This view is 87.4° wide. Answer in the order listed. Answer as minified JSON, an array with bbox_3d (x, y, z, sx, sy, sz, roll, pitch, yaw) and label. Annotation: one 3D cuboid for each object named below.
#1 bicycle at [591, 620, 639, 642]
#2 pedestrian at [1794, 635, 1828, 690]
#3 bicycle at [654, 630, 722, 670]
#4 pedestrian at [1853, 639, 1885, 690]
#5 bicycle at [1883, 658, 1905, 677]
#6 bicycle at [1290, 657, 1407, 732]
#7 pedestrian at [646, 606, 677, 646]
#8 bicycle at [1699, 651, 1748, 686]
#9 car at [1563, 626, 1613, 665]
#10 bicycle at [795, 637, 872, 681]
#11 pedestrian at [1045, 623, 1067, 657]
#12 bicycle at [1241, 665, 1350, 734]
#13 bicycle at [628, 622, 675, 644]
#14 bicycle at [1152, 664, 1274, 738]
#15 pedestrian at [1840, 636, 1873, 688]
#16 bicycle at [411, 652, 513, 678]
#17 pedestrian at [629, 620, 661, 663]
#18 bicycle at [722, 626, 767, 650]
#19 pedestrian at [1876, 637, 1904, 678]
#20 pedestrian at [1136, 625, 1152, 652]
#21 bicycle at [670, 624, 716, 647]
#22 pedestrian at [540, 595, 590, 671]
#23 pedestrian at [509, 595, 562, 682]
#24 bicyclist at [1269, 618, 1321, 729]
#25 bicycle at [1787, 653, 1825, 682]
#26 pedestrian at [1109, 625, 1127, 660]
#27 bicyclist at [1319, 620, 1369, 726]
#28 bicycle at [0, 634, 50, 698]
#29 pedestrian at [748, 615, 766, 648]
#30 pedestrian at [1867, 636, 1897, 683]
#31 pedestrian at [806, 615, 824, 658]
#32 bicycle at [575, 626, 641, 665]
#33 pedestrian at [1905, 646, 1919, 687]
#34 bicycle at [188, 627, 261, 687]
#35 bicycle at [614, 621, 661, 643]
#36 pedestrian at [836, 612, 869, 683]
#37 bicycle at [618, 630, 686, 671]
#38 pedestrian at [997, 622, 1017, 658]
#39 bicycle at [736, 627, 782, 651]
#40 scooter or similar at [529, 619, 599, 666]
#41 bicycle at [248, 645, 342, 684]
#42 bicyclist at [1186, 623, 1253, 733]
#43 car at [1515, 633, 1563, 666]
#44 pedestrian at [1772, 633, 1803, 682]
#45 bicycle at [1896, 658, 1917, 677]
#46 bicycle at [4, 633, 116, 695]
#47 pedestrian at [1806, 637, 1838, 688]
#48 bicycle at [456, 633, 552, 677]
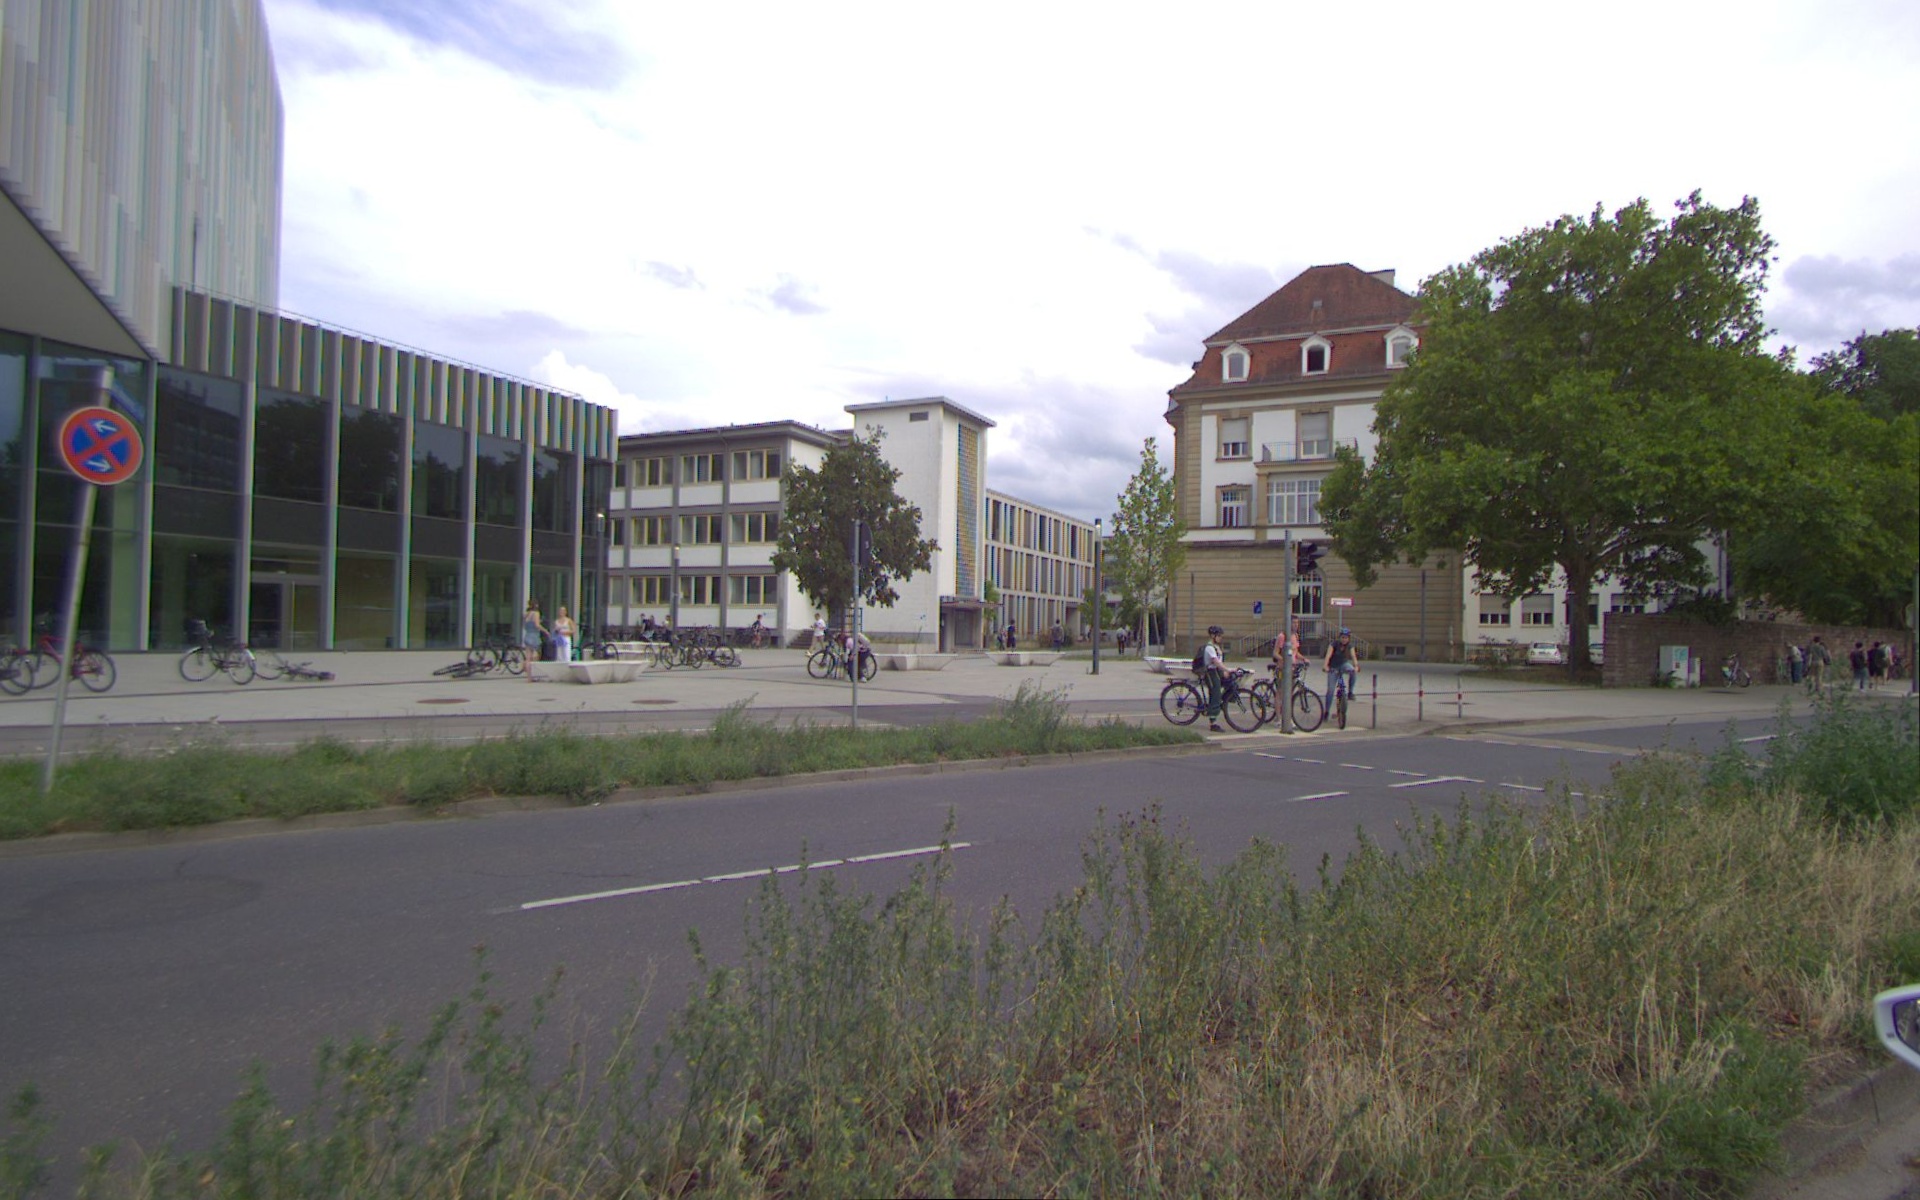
[{"bbox_3d":[-18.535,1.674,54.074,0.732,1.149,2.671,1,-1,26],"label":"bicycle"},{"bbox_3d":[28.951,2.119,34.172,0.734,1.805,0.782,1,-2,31],"label":"pedestrian"},{"bbox_3d":[-8.223,1.498,30.277,0.792,1.104,2.648,2,-2,-44],"label":"bicycle"},{"bbox_3d":[33.532,2.375,37.055,0.748,1.805,0.781,1,-2,35],"label":"pedestrian"},{"bbox_3d":[43.863,3.148,47.158,1.605,0.807,0.437,1,1,-36],"label":"bicycle"},{"bbox_3d":[6.886,1.645,17.868,0.603,1.185,1.871,2,-2,-44],"label":"bicycle"},{"bbox_3d":[-14.720,1.295,49.578,1.051,1.956,0.974,0,-1,27],"label":"pedestrian"},{"bbox_3d":[26.056,2.330,34.266,2.141,1.141,0.574,2,1,-32],"label":"bicycle"},{"bbox_3d":[34.609,2.500,55.433,1.752,2.040,3.998,1,-2,24],"label":"car"},{"bbox_3d":[-2.968,1.386,23.598,1.726,1.012,0.437,2,-1,-27],"label":"bicycle"},{"bbox_3d":[4.462,1.869,46.688,0.725,1.569,0.700,2,-2,-23],"label":"pedestrian"},{"bbox_3d":[5.690,1.671,17.125,0.567,1.002,1.670,2,0,-43],"label":"bicycle"},{"bbox_3d":[-16.233,1.746,52.987,0.732,1.149,2.671,1,-1,26],"label":"bicycle"},{"bbox_3d":[4.098,1.612,16.351,0.723,1.002,1.799,2,0,-43],"label":"bicycle"},{"bbox_3d":[31.775,2.200,35.607,0.748,1.805,0.782,1,-2,34],"label":"pedestrian"},{"bbox_3d":[-11.458,1.486,23.116,2.205,0.528,0.624,1,-1,13],"label":"bicycle"},{"bbox_3d":[-15.102,1.985,48.194,1.051,1.956,0.974,2,-1,27],"label":"pedestrian"},{"bbox_3d":[-10.831,1.916,50.582,0.732,1.149,2.671,1,-1,26],"label":"bicycle"},{"bbox_3d":[39.378,2.426,42.529,0.749,1.693,0.921,0,-1,35],"label":"pedestrian"},{"bbox_3d":[13.869,2.904,75.793,0.900,2.040,1.231,1,-1,23],"label":"pedestrian"},{"bbox_3d":[-13.807,1.824,52.031,0.732,1.149,2.671,1,-1,26],"label":"bicycle"},{"bbox_3d":[-8.636,0.720,21.968,0.717,1.621,0.677,1,-1,30],"label":"pedestrian"},{"bbox_3d":[-8.899,0.800,21.065,0.717,1.763,0.678,1,-1,27],"label":"pedestrian"},{"bbox_3d":[5.711,1.242,17.120,0.558,1.830,0.594,2,0,-43],"label":"bicyclist"},{"bbox_3d":[32.862,2.617,39.021,1.960,1.072,0.545,2,1,-34],"label":"bicycle"},{"bbox_3d":[9.254,2.496,58.803,0.779,2.040,0.835,1,-1,25],"label":"pedestrian"},{"bbox_3d":[6.858,1.297,17.951,0.558,1.830,0.594,2,0,-43],"label":"bicyclist"},{"bbox_3d":[-15.379,1.027,15.941,1.566,0.950,0.394,2,0,4],"label":"bicycle"},{"bbox_3d":[-9.817,1.535,48.594,0.644,1.569,0.599,1,-1,13],"label":"pedestrian"},{"bbox_3d":[36.443,2.358,39.713,0.748,1.805,0.912,1,-2,35],"label":"pedestrian"},{"bbox_3d":[-6.053,1.522,41.943,0.624,1.802,0.596,1,-1,-5],"label":"pedestrian"},{"bbox_3d":[-9.866,1.244,28.088,0.669,1.012,2.648,2,-2,-44],"label":"bicycle"},{"bbox_3d":[43.041,3.005,45.121,0.748,1.805,0.781,1,-2,35],"label":"pedestrian"},{"bbox_3d":[-14.057,1.078,19.198,1.517,1.043,0.394,2,0,24],"label":"bicycle"},{"bbox_3d":[-17.225,1.718,53.720,0.732,1.149,2.671,1,-1,26],"label":"bicycle"},{"bbox_3d":[-2.470,1.090,23.084,0.566,1.601,0.649,2,-1,-25],"label":"pedestrian"},{"bbox_3d":[-9.057,1.455,29.445,0.792,1.104,2.648,2,-2,-44],"label":"bicycle"},{"bbox_3d":[2.087,1.763,44.727,0.648,1.569,0.706,2,-2,-23],"label":"pedestrian"},{"bbox_3d":[-9.933,1.939,49.725,0.732,1.149,2.671,1,-1,26],"label":"bicycle"},{"bbox_3d":[-10.934,1.161,27.718,2.087,1.214,0.595,0,-1,29],"label":"scooter or similar"},{"bbox_3d":[-13.619,1.311,20.568,1.759,0.682,0.394,2,0,8],"label":"bicycle"},{"bbox_3d":[4.195,1.242,16.259,0.719,1.695,0.719,2,0,-43],"label":"bicyclist"},{"bbox_3d":[32.783,2.760,56.983,1.874,1.774,3.999,1,-2,23],"label":"car"},{"bbox_3d":[30.950,2.150,37.587,0.733,1.805,0.783,1,-2,29],"label":"pedestrian"},{"bbox_3d":[45.672,3.259,48.484,1.605,0.807,0.437,1,1,-36],"label":"bicycle"},{"bbox_3d":[-15.109,1.063,16.865,1.566,0.950,0.394,2,0,4],"label":"bicycle"},{"bbox_3d":[31.422,2.264,36.620,0.748,1.805,0.782,1,-2,32],"label":"pedestrian"},{"bbox_3d":[-11.160,1.334,24.597,2.205,0.998,0.624,1,-1,13],"label":"bicycle"}]
